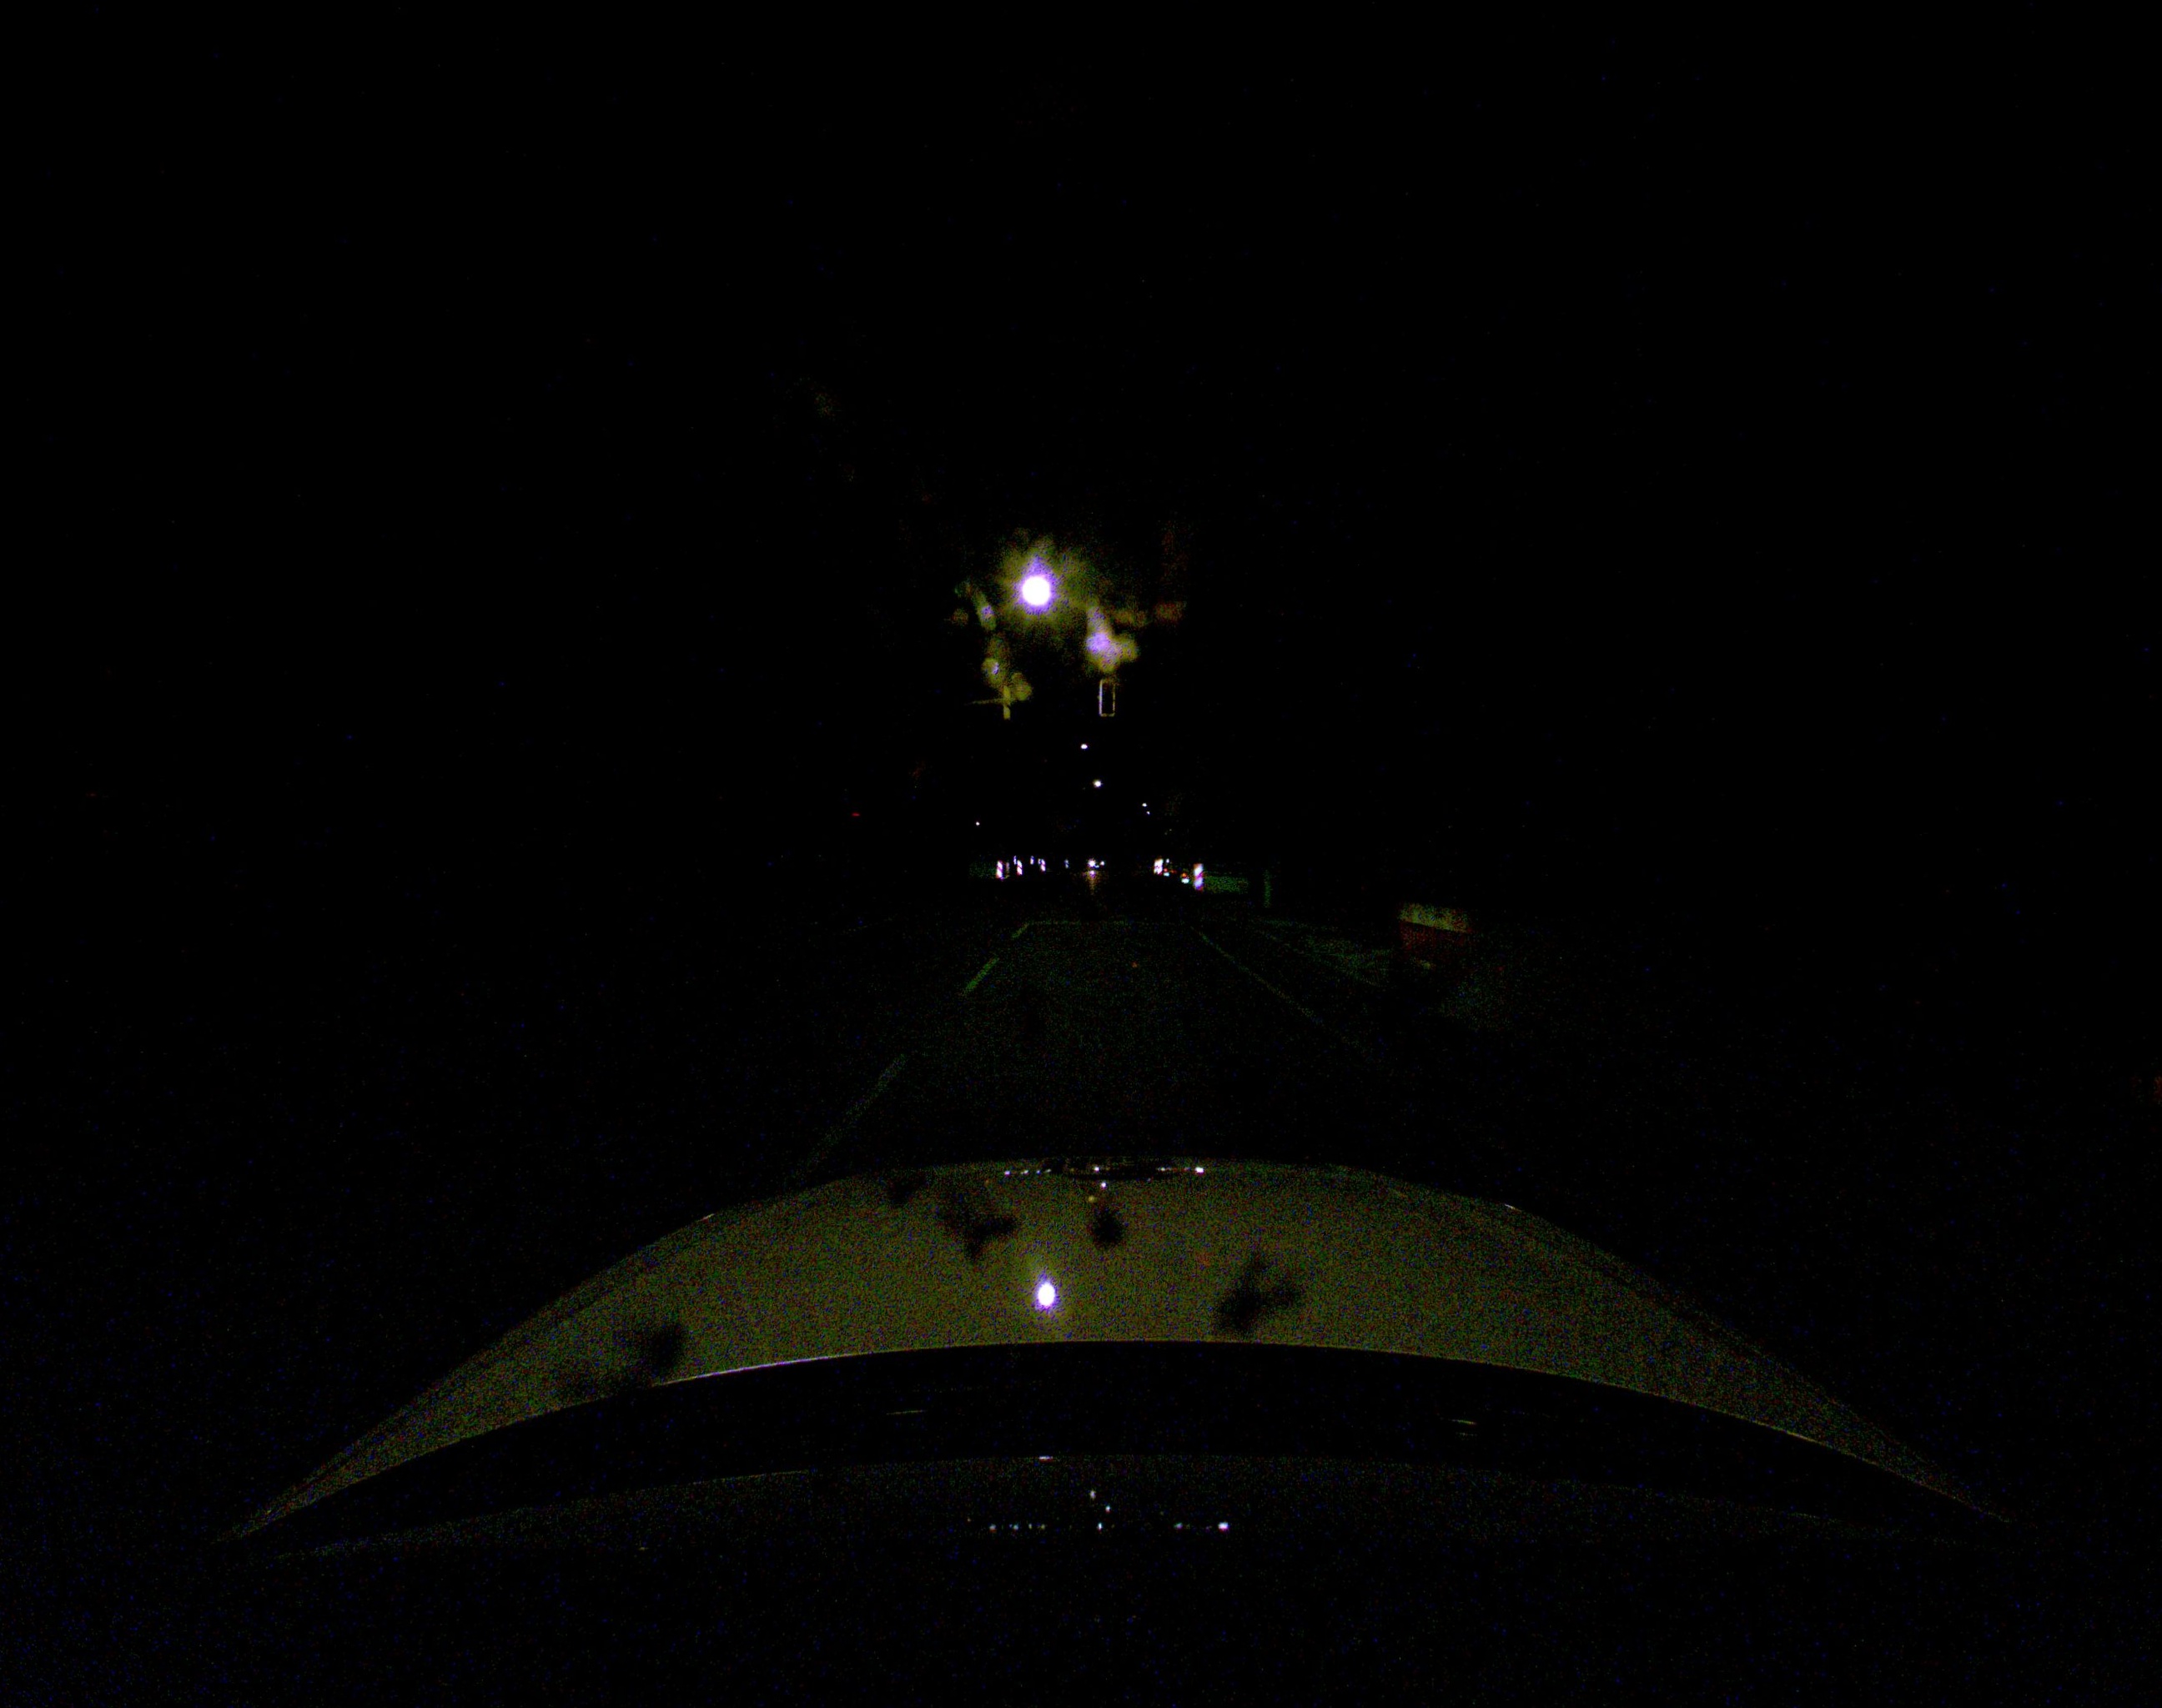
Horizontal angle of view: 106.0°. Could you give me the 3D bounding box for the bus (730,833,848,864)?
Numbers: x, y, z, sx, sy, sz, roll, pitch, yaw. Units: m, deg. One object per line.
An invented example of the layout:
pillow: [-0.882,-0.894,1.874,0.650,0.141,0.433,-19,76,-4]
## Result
bus: [-29.856,-0.547,84.182,2.915,2.982,12.352,0,0,32]

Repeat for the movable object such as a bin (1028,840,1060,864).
movable object such as a bin: [-3.725,-0.181,83.283,1.979,2.376,4.720,0,0,14]

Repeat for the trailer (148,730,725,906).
trailer: [-18.028,-0.809,25.793,3.034,3.932,15.070,2,0,18]

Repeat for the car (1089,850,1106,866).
car: [1.721,0.409,86.053,1.690,1.576,2.959,-2,0,2]

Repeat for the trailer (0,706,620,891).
trailer: [-22.608,-1.202,25.588,3.031,4.148,15.087,2,0,24]

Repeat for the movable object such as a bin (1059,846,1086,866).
movable object such as a bin: [-0.962,0.234,95.487,1.979,2.376,4.720,0,0,14]

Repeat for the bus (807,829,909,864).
bus: [-21.641,-0.711,80.308,2.987,3.204,12.736,0,0,20]

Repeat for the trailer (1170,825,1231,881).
trailer: [6.573,-0.028,45.359,2.606,2.846,4.706,2,-1,-1]

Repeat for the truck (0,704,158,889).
truck: [-25.673,-1.329,18.824,3.031,4.148,4.963,2,0,24]

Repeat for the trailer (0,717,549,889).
trailer: [-26.324,-1.265,27.145,3.031,4.357,15.084,2,0,23]

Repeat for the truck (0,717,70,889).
truck: [-29.495,-1.351,19.697,3.031,4.357,5.596,2,0,23]

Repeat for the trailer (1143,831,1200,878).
trailer: [6.563,0.088,59.933,3.471,3.219,4.862,2,-1,-1]

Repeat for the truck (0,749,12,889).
truck: [-36.045,-1.168,23.448,3.033,4.357,5.594,2,0,20]

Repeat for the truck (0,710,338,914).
truck: [-20.441,-0.845,18.266,3.034,3.932,4.523,2,0,17]

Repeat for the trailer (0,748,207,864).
trailer: [-42.611,-1.859,29.295,3.033,4.357,15.077,2,0,20]
